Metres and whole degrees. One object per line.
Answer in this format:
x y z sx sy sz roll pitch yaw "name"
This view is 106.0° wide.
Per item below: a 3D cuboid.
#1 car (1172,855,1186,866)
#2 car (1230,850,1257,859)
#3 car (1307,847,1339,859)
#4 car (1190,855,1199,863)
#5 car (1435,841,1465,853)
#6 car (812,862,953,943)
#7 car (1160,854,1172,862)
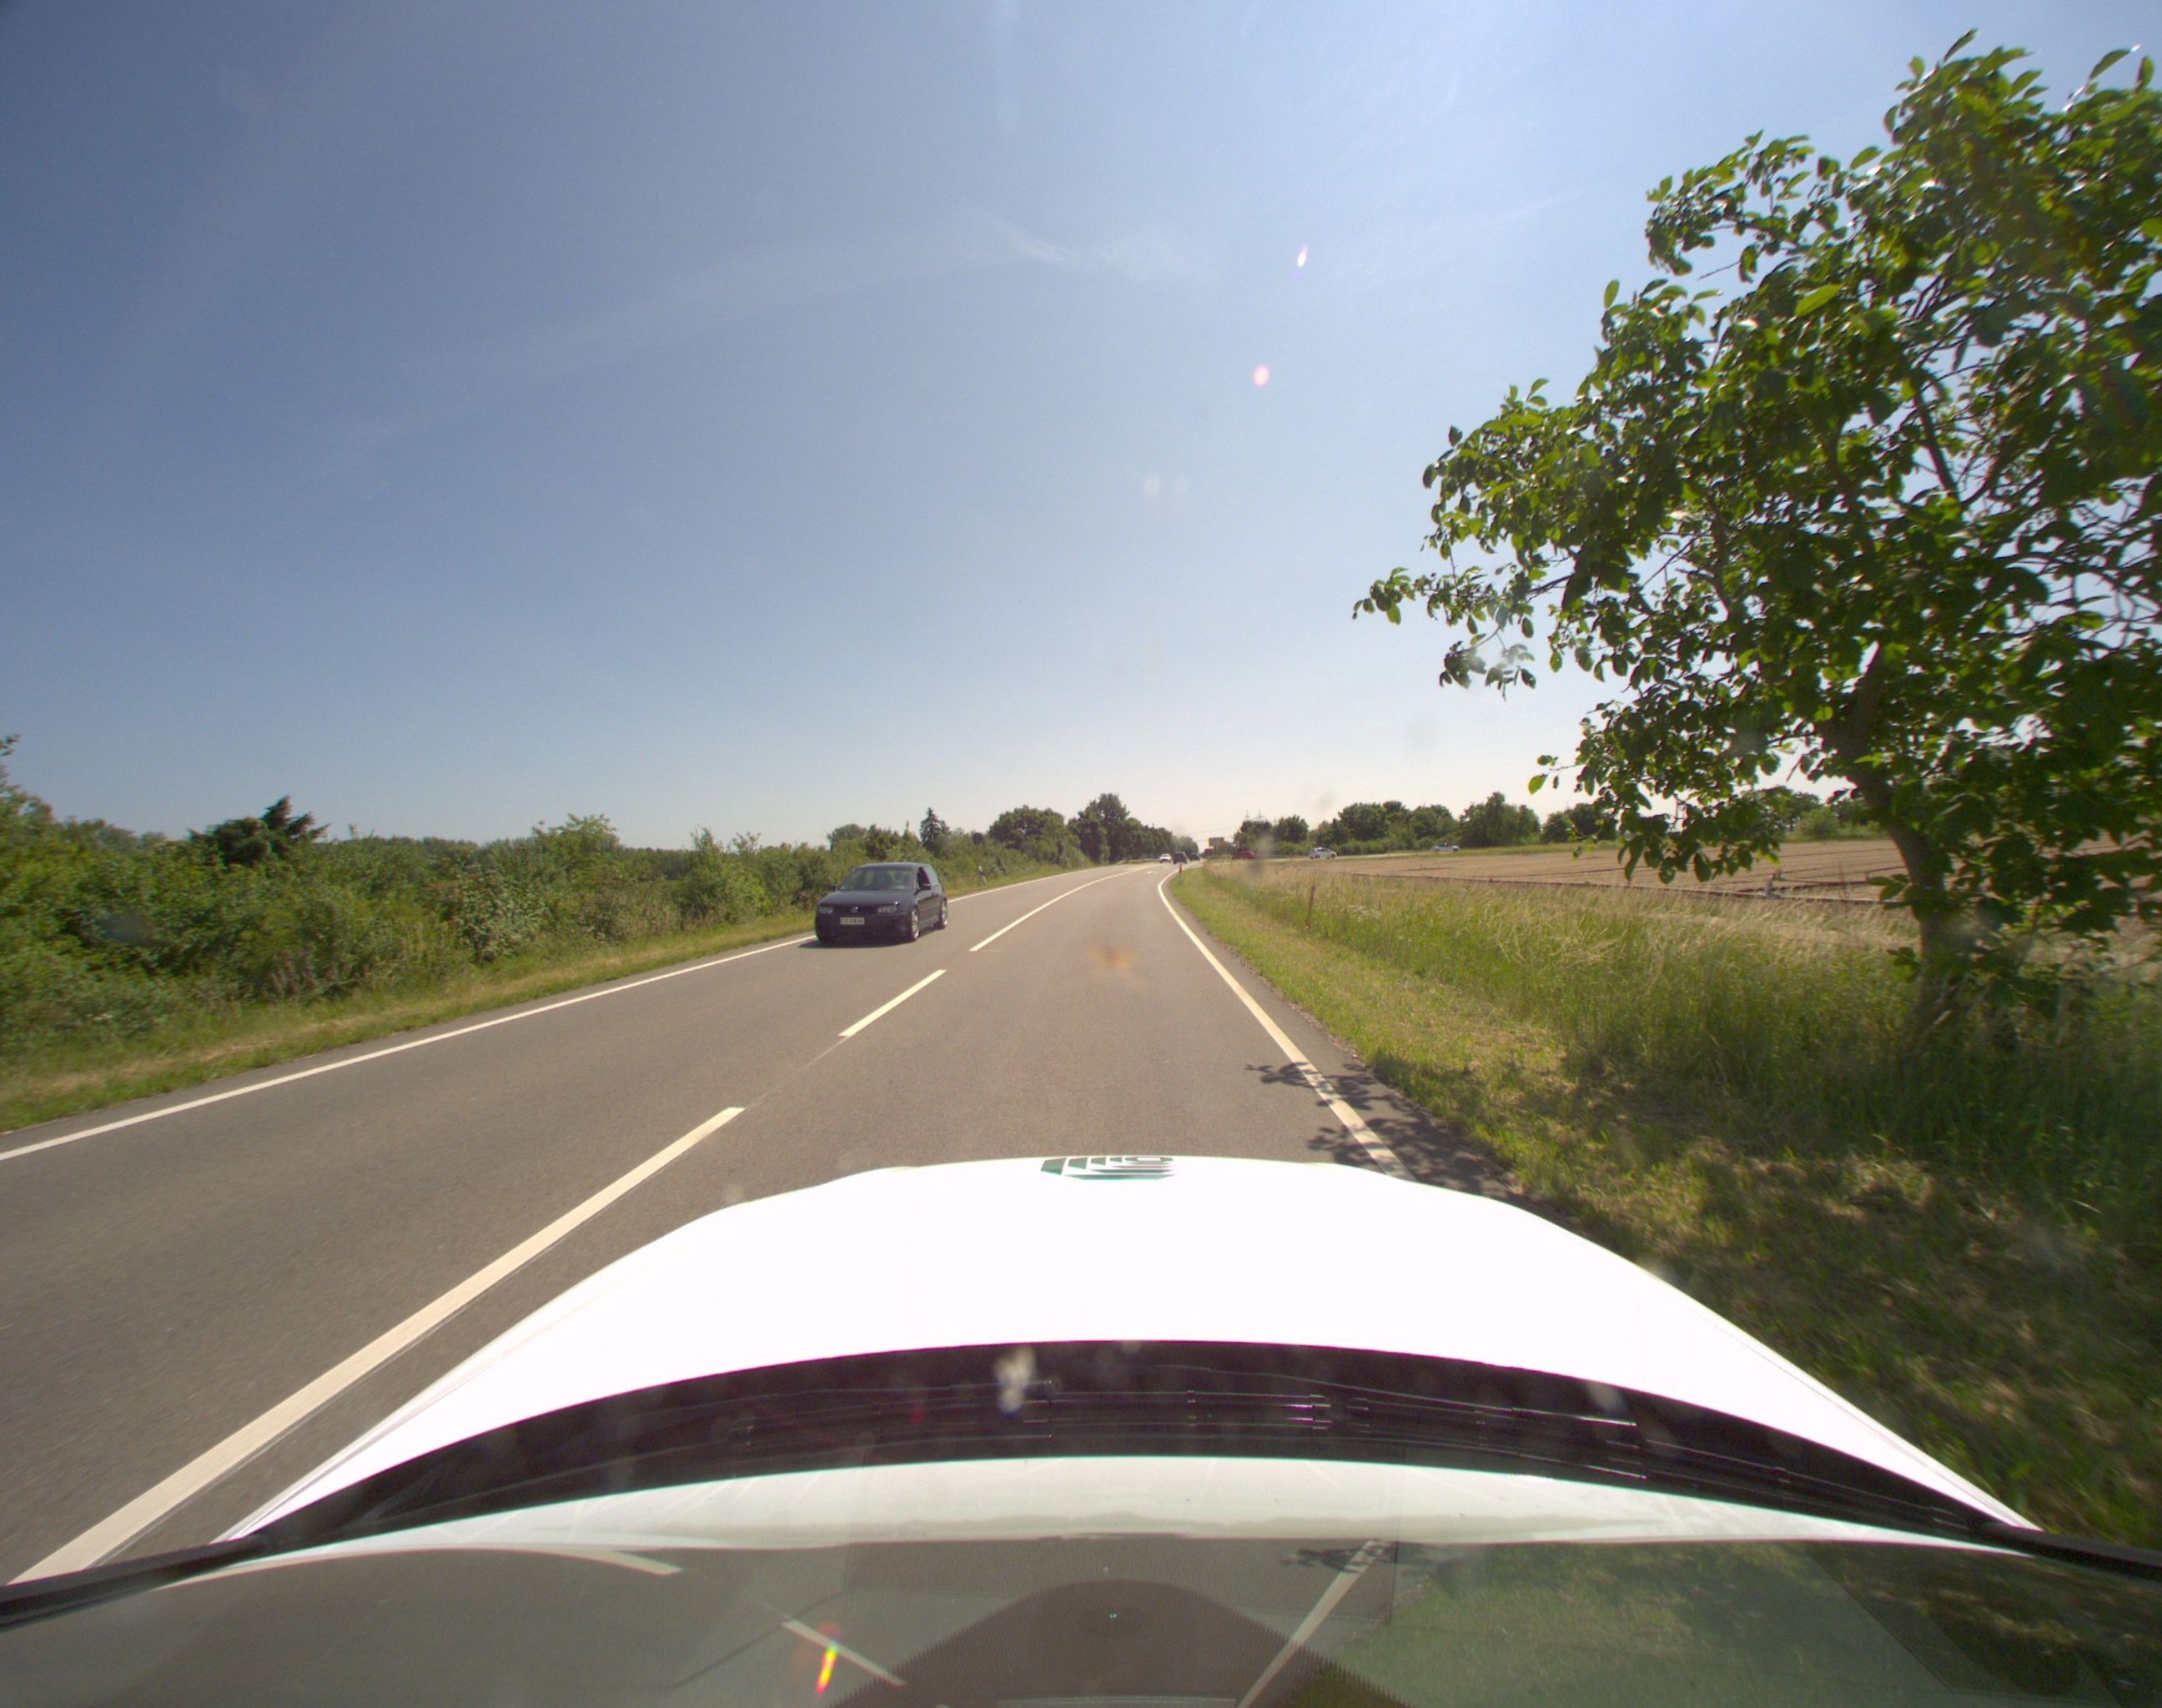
14.128 0.876 117.097 1.874 1.518 4.049 -1 0 9 "car"
26.789 0.103 134.444 4.115 1.418 1.789 -2 -1 23 "car"
36.125 -0.187 121.521 4.132 1.623 2.062 -2 -1 -12 "car"
21.179 0.955 152.373 1.634 1.341 4.049 -1 0 9 "car"
54.491 -1.021 120.436 3.952 1.623 1.653 -3 -1 23 "car"
-3.695 0.843 15.824 1.686 1.362 3.827 -1 0 2 "car"
14.375 0.694 137.505 1.826 1.418 4.724 -1 0 7 "car"
